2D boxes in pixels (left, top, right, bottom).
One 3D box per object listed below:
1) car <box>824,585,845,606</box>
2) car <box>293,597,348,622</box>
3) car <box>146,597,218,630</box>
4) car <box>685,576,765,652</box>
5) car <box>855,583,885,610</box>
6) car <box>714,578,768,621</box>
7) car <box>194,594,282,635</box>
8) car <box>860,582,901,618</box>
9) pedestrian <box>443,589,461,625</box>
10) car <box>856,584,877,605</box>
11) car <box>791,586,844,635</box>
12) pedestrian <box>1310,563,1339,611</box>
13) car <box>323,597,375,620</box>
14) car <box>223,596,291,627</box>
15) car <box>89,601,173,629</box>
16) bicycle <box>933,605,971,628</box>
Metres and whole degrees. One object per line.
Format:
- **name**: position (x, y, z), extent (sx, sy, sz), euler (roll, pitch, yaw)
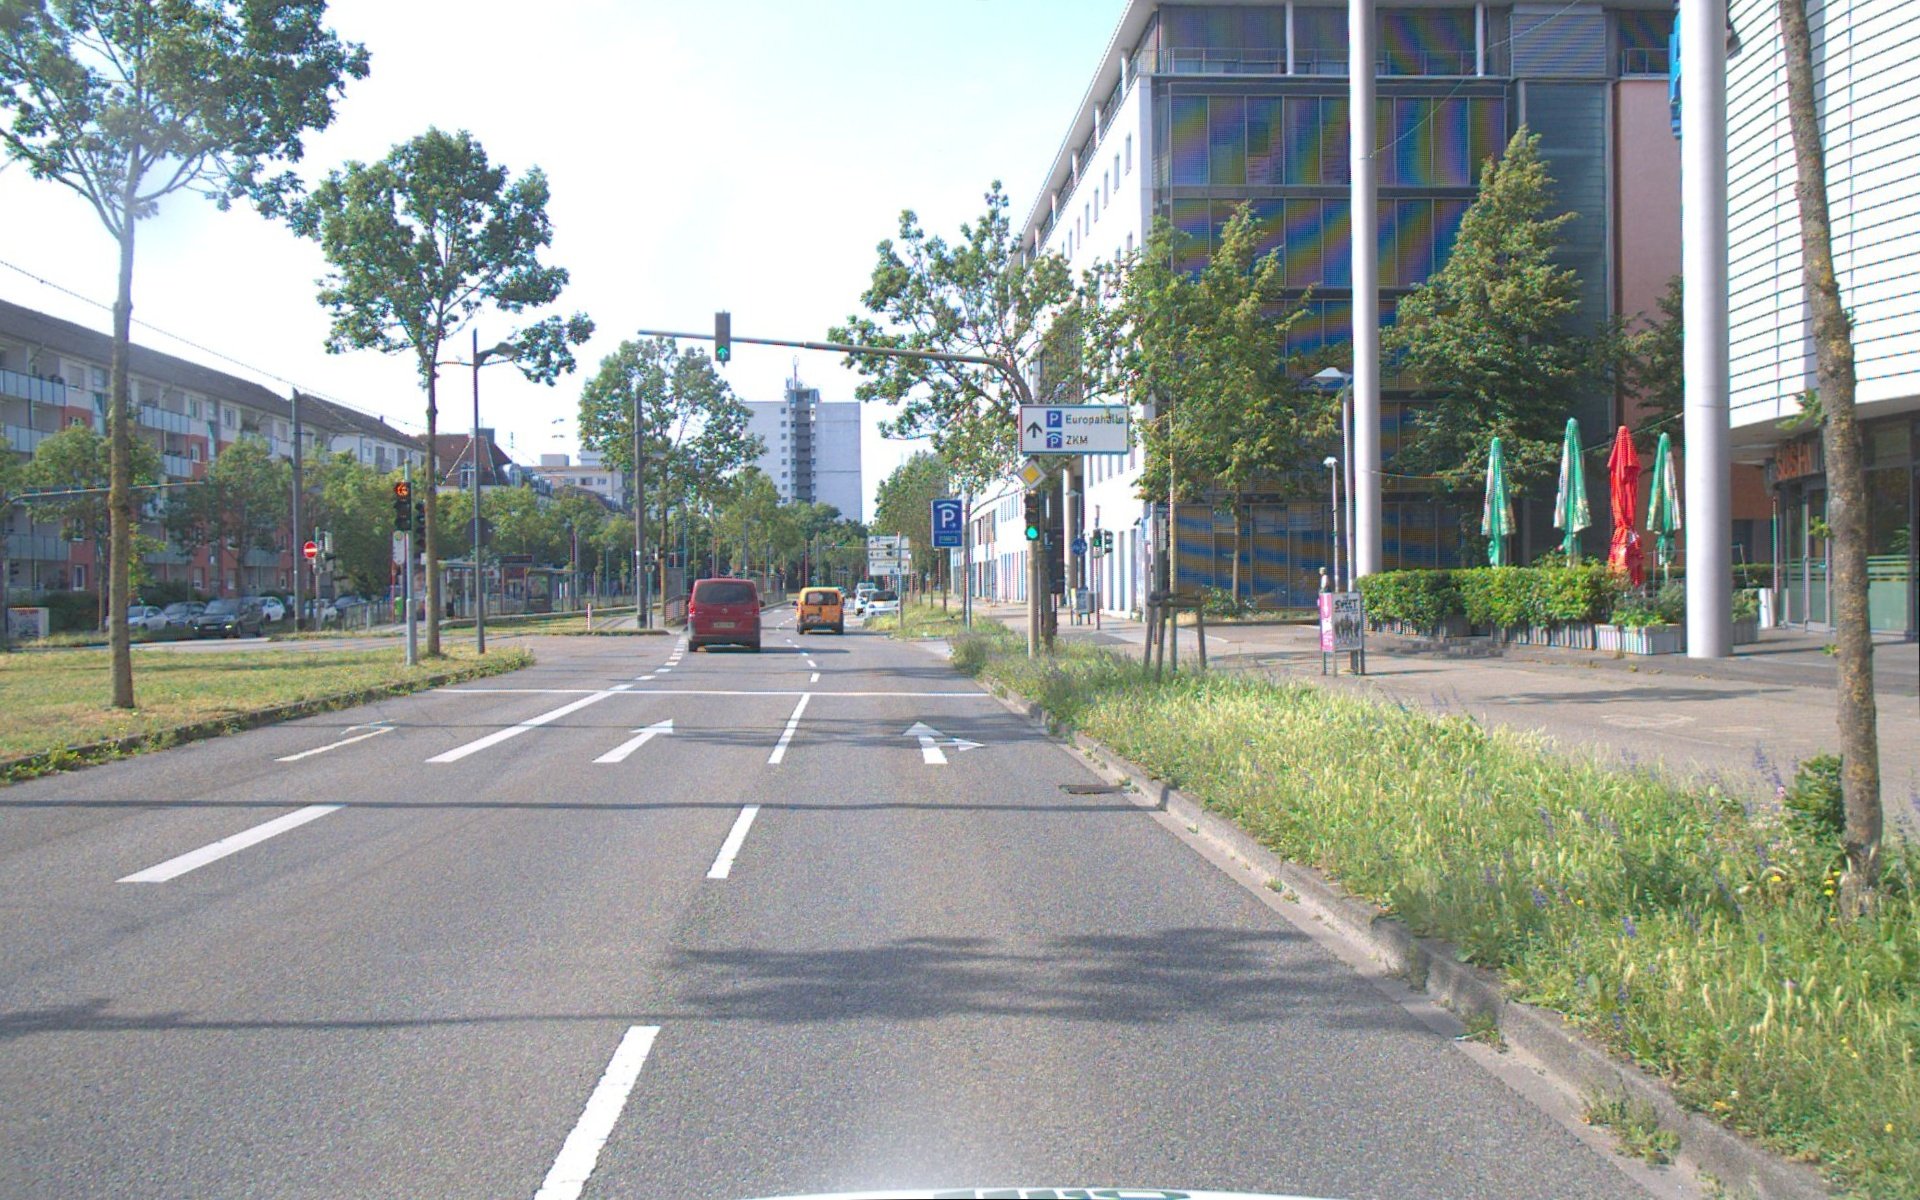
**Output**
- **car**: position (-12.222, -0.458, 161.181), extent (1.954, 2.049, 3.996), euler (0, 0, -5)
- **car**: position (-37.718, 0.540, 97.651), extent (1.942, 1.384, 4.066), euler (1, 0, -4)
- **car**: position (-36.538, 0.618, 77.804), extent (1.797, 1.497, 3.823), euler (1, 0, -4)
- **car**: position (-6.148, 0.345, 43.592), extent (1.838, 1.886, 3.996), euler (-1, 0, -5)
- **car**: position (-5.387, -0.223, 99.000), extent (1.655, 1.552, 3.848), euler (-3, 1, -3)
- **car**: position (-9.192, -0.032, 69.629), extent (1.954, 1.736, 3.997), euler (0, 0, -4)
- **car**: position (-31.413, 0.602, 72.083), extent (1.954, 1.735, 4.710), euler (0, 0, -3)
- **car**: position (-3.519, -0.017, 72.822), extent (1.686, 1.545, 3.777), euler (0, 0, -5)
- **pedestrian**: position (-23.697, 0.333, 77.212), extent (0.659, 1.682, 0.793), euler (-1, 0, -8)
- **car**: position (-9.188, -0.571, 162.579), extent (1.954, 2.049, 3.997), euler (1, 0, -4)
- **car**: position (-5.305, 0.368, 61.883), extent (1.838, 1.726, 3.971), euler (-1, 0, -3)
- **pedestrian**: position (12.510, -0.440, 56.785), extent (0.762, 1.644, 0.712), euler (0, 0, -5)
- **car**: position (-37.982, 0.520, 102.891), extent (1.942, 1.384, 4.066), euler (1, 0, -4)
- **car**: position (-37.282, 0.576, 87.781), extent (1.942, 1.583, 4.533), euler (1, 0, -4)
- **car**: position (-36.028, 0.643, 71.975), extent (1.797, 1.168, 4.161), euler (1, 0, -4)
- **bicycle**: position (-0.294, 0.585, 58.726), extent (1.245, 0.643, 0.521), euler (-7, 0, 3)
